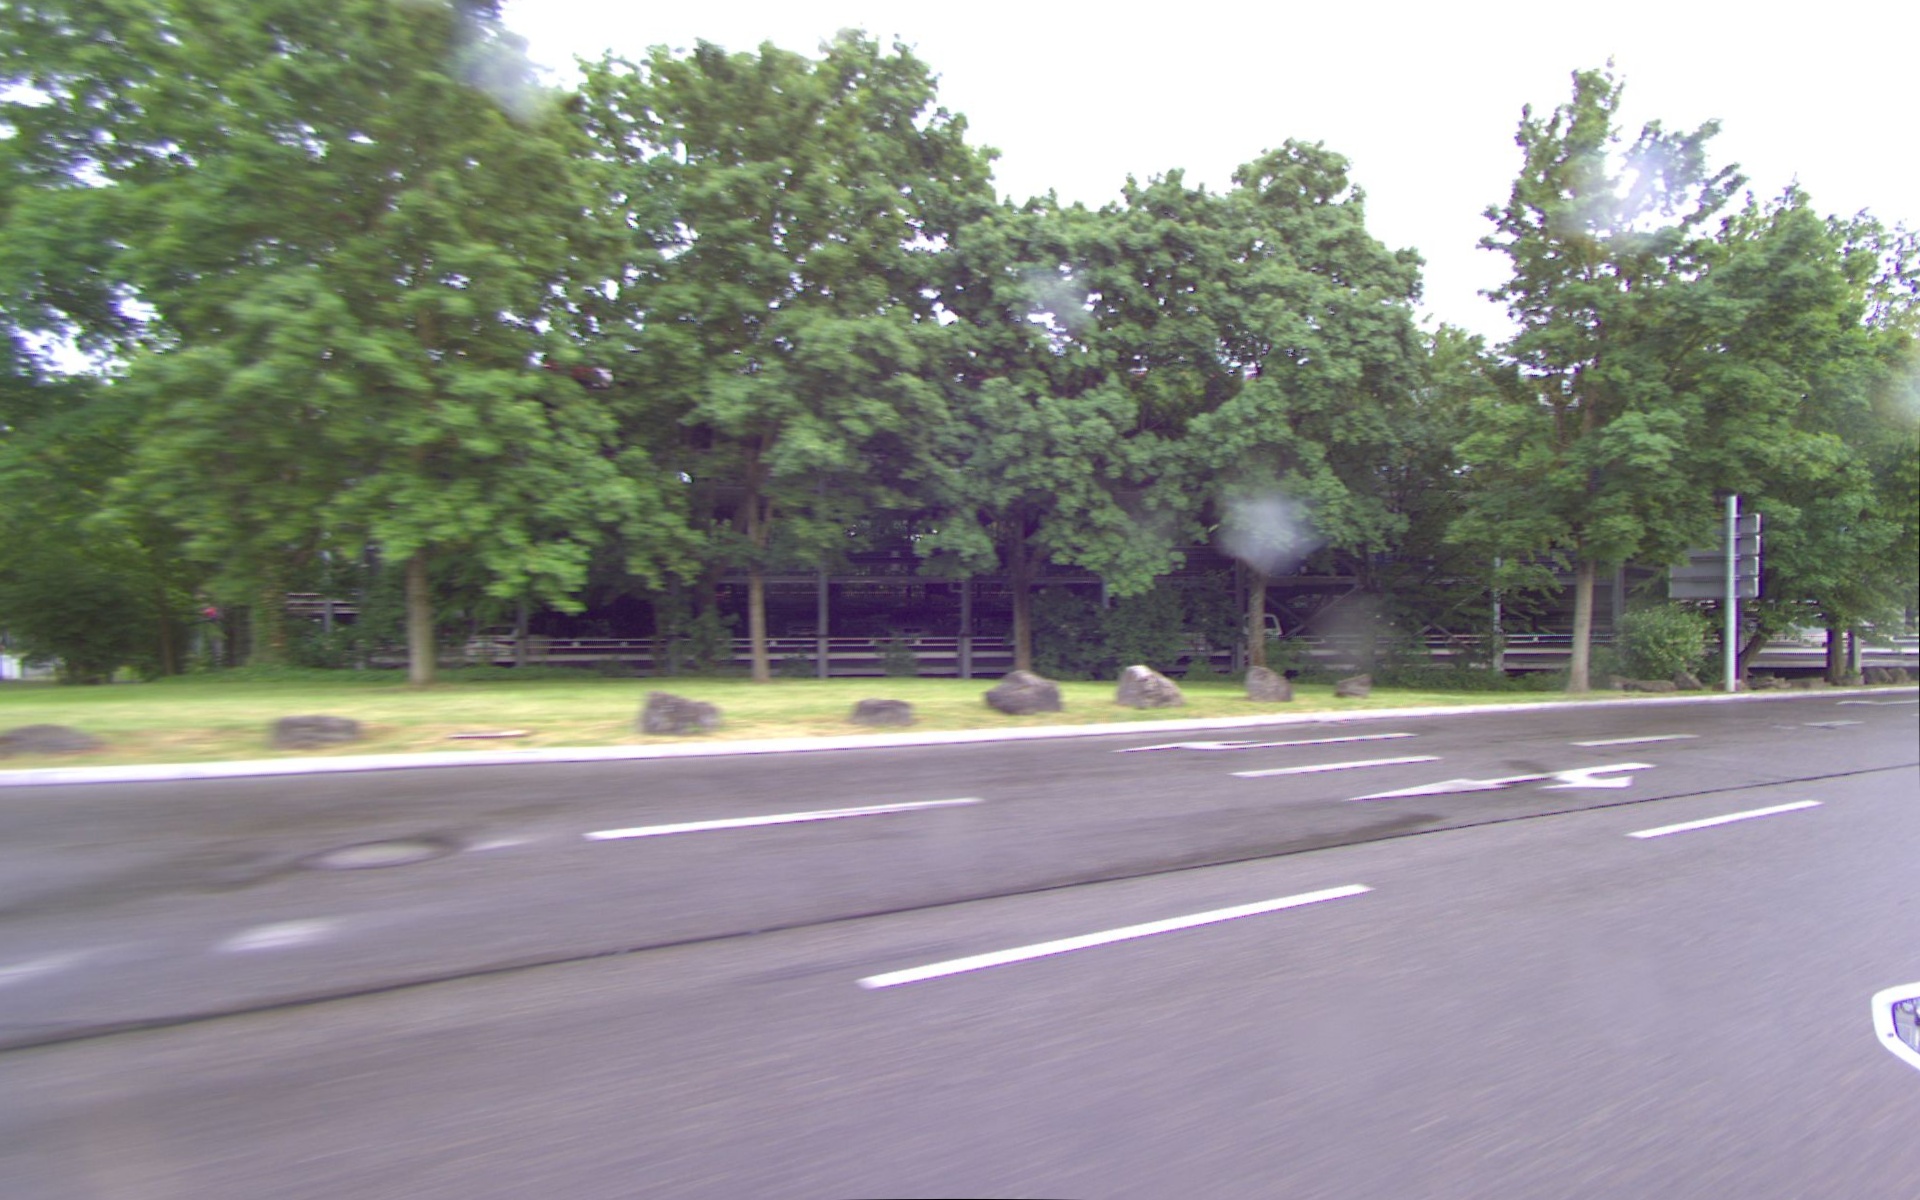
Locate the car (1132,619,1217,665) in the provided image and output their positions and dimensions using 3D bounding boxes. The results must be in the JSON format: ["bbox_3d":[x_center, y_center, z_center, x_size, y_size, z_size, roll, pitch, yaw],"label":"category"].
[{"bbox_3d":[7.552,1.457,35.793,1.962,1.539,3.998,1,-1,-4],"label":"car"}]

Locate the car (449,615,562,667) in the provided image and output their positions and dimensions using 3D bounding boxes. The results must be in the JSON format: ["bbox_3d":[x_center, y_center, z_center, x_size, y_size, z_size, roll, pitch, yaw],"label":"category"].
[{"bbox_3d":[-14.560,1.288,32.460,1.961,1.539,3.999,1,-1,-3],"label":"car"}]

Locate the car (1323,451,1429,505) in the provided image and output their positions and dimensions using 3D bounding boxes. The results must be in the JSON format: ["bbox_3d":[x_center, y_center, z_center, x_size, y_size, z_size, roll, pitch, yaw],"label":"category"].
[{"bbox_3d":[14.683,-4.274,35.714,1.961,1.539,3.998,1,2,-2],"label":"car"}]

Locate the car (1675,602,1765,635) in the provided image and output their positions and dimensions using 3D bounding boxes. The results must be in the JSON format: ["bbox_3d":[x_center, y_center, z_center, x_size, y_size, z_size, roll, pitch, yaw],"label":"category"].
[{"bbox_3d":[37.569,0.891,49.764,1.557,1.539,3.469,1,0,-9],"label":"car"}]

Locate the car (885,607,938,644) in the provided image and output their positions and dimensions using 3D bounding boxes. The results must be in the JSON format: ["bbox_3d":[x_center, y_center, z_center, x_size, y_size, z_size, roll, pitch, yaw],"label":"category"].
[{"bbox_3d":[-2.212,1.137,44.655,1.963,1.539,3.994,1,-1,-9],"label":"car"}]

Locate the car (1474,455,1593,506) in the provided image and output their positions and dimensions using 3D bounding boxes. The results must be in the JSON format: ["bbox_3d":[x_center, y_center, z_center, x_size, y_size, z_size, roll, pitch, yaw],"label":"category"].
[{"bbox_3d":[20.943,-4.334,36.897,1.961,1.539,3.998,1,2,-2],"label":"car"}]

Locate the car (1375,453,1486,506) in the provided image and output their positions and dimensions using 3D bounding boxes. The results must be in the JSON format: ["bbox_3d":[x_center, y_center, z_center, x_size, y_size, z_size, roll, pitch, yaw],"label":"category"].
[{"bbox_3d":[16.883,-4.298,36.278,1.961,1.539,3.998,1,2,-2],"label":"car"}]

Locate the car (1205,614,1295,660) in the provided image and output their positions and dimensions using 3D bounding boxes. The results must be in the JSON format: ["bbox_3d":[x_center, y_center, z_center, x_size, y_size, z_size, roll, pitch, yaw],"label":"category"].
[{"bbox_3d":[10.382,1.299,36.238,1.961,1.539,3.999,1,-1,-2],"label":"car"}]

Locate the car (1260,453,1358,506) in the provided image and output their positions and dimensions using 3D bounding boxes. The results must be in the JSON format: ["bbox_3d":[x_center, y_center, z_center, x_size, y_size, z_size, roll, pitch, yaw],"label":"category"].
[{"bbox_3d":[12.328,-4.243,35.781,1.961,1.539,3.998,1,2,-2],"label":"car"}]

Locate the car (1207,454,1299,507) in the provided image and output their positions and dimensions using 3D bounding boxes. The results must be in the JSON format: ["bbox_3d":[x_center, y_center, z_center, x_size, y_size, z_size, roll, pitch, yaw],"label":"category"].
[{"bbox_3d":[10.391,-4.208,35.887,1.961,1.539,3.998,1,2,-2],"label":"car"}]

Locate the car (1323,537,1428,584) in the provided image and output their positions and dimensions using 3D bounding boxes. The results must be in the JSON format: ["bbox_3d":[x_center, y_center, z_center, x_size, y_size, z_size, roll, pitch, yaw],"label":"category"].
[{"bbox_3d":[14.745,-1.413,35.871,1.961,1.539,3.998,1,2,-2],"label":"car"}]

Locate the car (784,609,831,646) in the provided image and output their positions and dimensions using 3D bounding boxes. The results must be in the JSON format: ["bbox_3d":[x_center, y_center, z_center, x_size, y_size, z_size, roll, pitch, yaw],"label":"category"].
[{"bbox_3d":[-6.754,1.203,44.527,1.963,1.539,3.994,1,-1,-9],"label":"car"}]

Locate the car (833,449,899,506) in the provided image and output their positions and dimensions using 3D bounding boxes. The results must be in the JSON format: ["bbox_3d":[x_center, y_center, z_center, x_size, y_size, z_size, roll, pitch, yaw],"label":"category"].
[{"bbox_3d":[-3.088,-4.035,33.612,1.961,1.539,3.998,1,2,-2],"label":"car"}]
